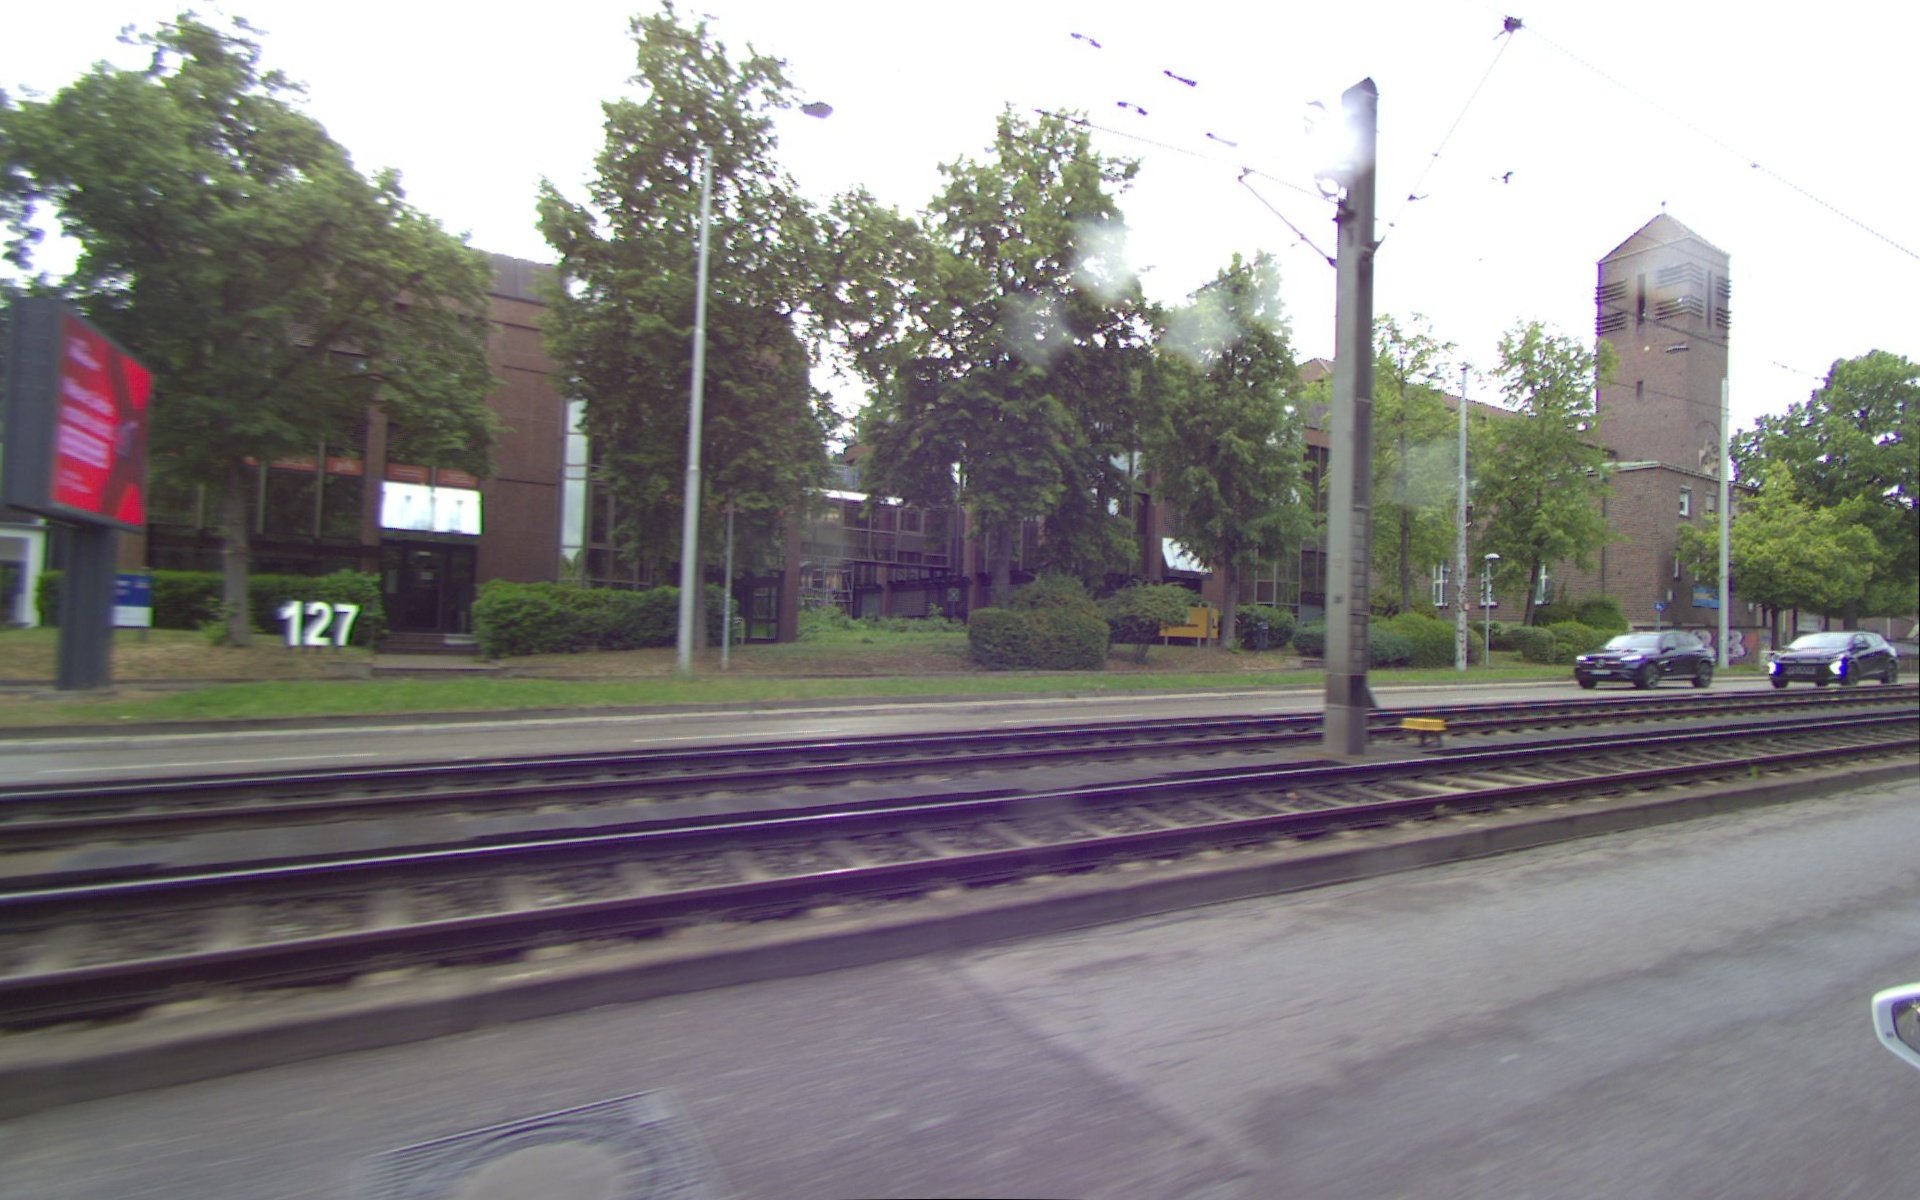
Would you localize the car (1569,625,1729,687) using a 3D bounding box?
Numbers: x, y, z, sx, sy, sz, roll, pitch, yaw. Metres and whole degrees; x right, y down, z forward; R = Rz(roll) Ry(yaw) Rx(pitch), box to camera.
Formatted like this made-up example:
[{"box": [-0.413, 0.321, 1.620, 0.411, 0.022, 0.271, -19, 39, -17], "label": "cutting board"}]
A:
[{"box": [19.814, 1.557, 28.868, 4.561, 1.678, 2.004, 1, -2, -30], "label": "car"}]

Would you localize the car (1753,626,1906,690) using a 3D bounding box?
[{"box": [24.400, 1.576, 28.183, 4.185, 1.678, 1.828, 1, -1, -27], "label": "car"}]
